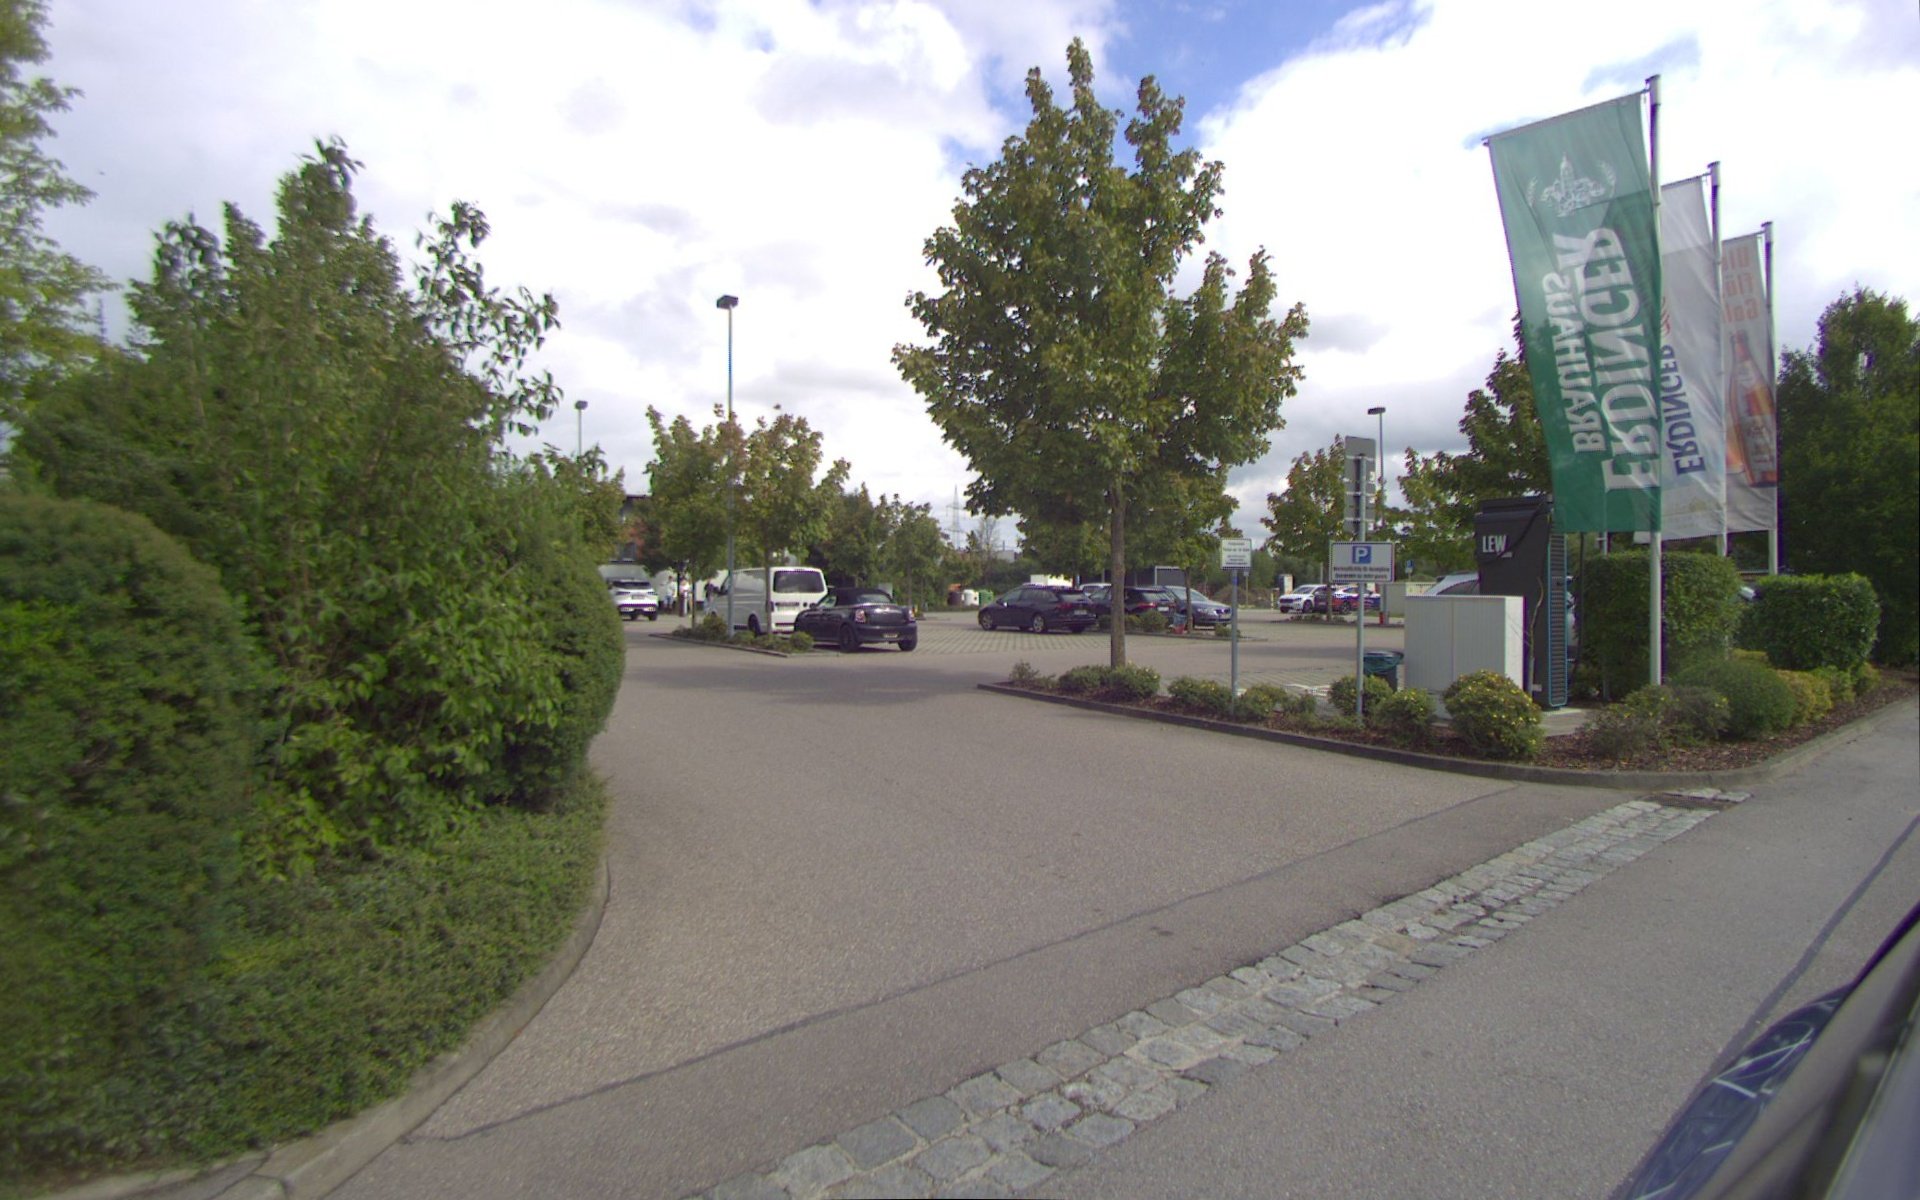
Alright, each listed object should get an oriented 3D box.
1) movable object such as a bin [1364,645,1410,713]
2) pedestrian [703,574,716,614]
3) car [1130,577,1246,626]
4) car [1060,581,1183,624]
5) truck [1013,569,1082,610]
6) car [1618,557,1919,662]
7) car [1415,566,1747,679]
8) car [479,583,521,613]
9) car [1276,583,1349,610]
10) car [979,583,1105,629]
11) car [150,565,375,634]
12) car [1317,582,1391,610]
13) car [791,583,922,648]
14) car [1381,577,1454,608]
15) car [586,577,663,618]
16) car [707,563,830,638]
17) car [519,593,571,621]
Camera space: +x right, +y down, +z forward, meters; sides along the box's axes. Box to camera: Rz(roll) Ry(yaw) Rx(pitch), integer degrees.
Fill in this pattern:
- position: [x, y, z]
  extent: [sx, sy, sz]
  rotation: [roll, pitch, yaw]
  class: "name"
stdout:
- position: [4.522, 0.829, 10.712]
  extent: [0.360, 0.693, 0.289]
  rotation: [0, -1, -29]
  class: "movable object such as a bin"
- position: [-11.200, -0.265, 45.248]
  extent: [0.490, 1.746, 0.416]
  rotation: [0, -1, -1]
  class: "pedestrian"
- position: [7.841, 0.046, 35.152]
  extent: [1.958, 1.591, 4.007]
  rotation: [0, 0, -24]
  class: "car"
- position: [5.378, 0.069, 34.214]
  extent: [1.688, 1.363, 4.278]
  rotation: [0, 0, -33]
  class: "car"
- position: [9.256, -1.108, 106.807]
  extent: [8.400, 4.173, 1.996]
  rotation: [0, 0, -41]
  class: "truck"
- position: [15.094, 0.155, 18.952]
  extent: [1.625, 1.738, 4.365]
  rotation: [0, 0, -33]
  class: "car"
- position: [10.727, 0.276, 17.909]
  extent: [1.880, 1.717, 4.686]
  rotation: [-1, 2, -29]
  class: "car"
- position: [-29.391, -0.126, 64.606]
  extent: [1.643, 1.804, 3.998]
  rotation: [0, 0, -37]
  class: "car"
- position: [20.584, -0.224, 59.118]
  extent: [3.917, 1.538, 1.719]
  rotation: [0, 0, -24]
  class: "car"
- position: [2.499, 0.180, 31.871]
  extent: [1.688, 1.363, 4.278]
  rotation: [0, 0, -33]
  class: "car"
- position: [-19.038, -0.019, 27.876]
  extent: [4.981, 1.733, 1.750]
  rotation: [0, 0, -34]
  class: "car"
- position: [22.153, -0.231, 56.902]
  extent: [3.917, 1.538, 1.609]
  rotation: [0, 0, -24]
  class: "car"
- position: [-2.418, 0.321, 22.991]
  extent: [1.598, 1.368, 3.374]
  rotation: [0, 0, -33]
  class: "car"
- position: [24.628, -0.393, 54.455]
  extent: [3.922, 1.635, 1.723]
  rotation: [0, 0, -32]
  class: "car"
- position: [-13.306, -0.089, 40.024]
  extent: [1.790, 1.519, 3.844]
  rotation: [0, 0, -37]
  class: "car"
- position: [-5.215, 0.002, 27.188]
  extent: [1.733, 1.845, 4.368]
  rotation: [0, 0, -33]
  class: "car"
- position: [-22.172, 0.377, 53.974]
  extent: [1.643, 1.447, 3.998]
  rotation: [0, 0, -37]
  class: "car"
